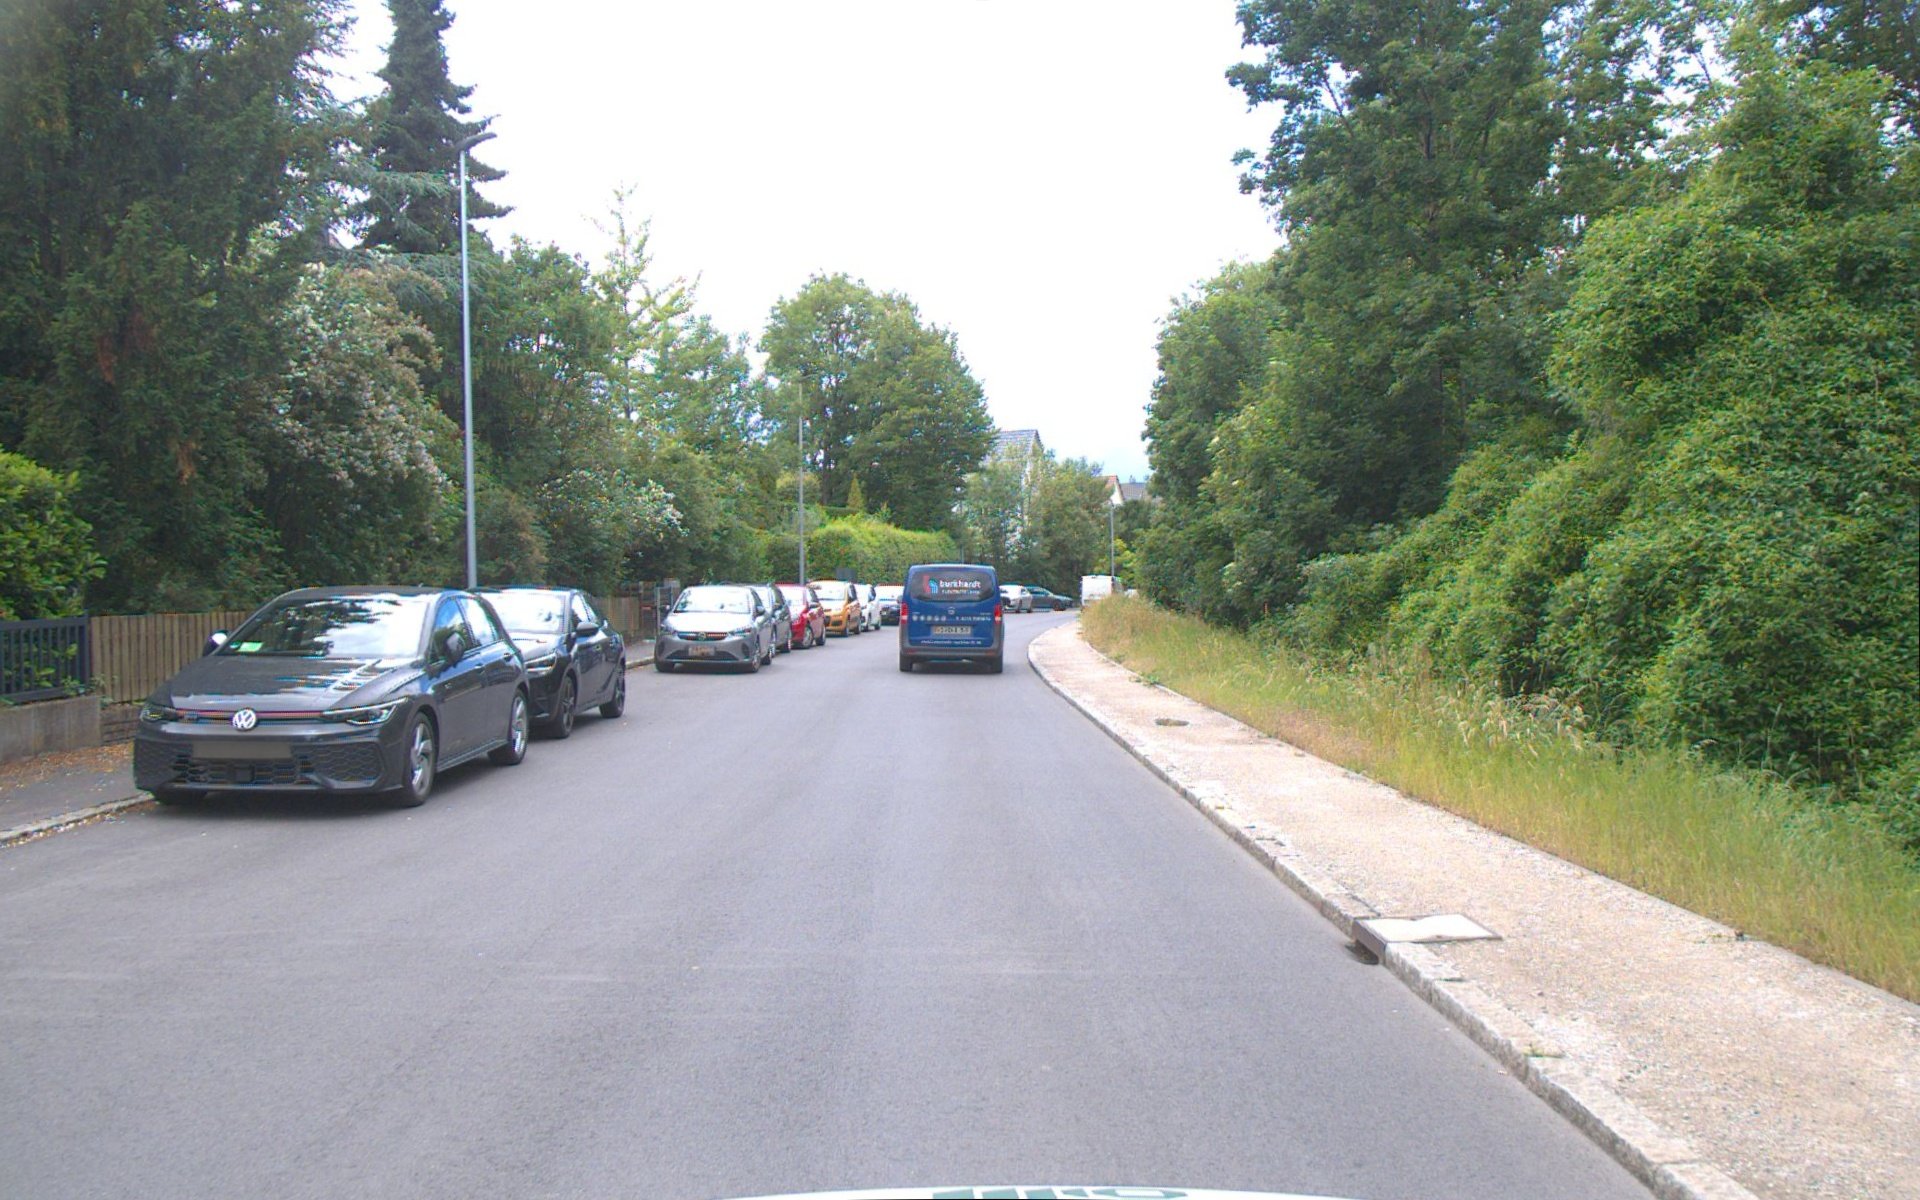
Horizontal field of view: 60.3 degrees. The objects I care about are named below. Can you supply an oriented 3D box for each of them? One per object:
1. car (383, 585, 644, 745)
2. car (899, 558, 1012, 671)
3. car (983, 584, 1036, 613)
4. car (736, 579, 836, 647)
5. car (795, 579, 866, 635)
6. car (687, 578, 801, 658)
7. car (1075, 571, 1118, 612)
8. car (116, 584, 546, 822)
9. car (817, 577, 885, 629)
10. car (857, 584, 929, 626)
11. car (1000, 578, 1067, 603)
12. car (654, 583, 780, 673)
[{"bbox_3d":[-4.493,0.583,17.251,1.672,1.441,4.131,0,1,-1],"label":"car"},{"bbox_3d":[-0.155,0.223,30.510,1.897,1.913,4.528,0,1,-2],"label":"car"},{"bbox_3d":[2.577,-0.087,84.980,1.792,1.398,4.449,1,1,14],"label":"car"},{"bbox_3d":[-4.127,0.274,39.818,1.671,1.541,4.366,0,1,4],"label":"car"},{"bbox_3d":[-3.639,0.170,47.131,1.511,1.541,3.646,0,1,4],"label":"car"},{"bbox_3d":[-4.459,0.324,34.722,1.671,1.541,4.497,0,1,2],"label":"car"},{"bbox_3d":[7.164,-0.454,87.167,2.159,2.100,6.138,0,0,4],"label":"car"},{"bbox_3d":[-4.377,0.612,12.227,1.672,1.441,4.148,0,1,-1],"label":"car"},{"bbox_3d":[-3.379,0.066,51.926,1.554,1.541,3.593,0,1,5],"label":"car"},{"bbox_3d":[-2.330,0.147,58.572,1.681,1.409,4.667,0,1,8],"label":"car"},{"bbox_3d":[4.554,-0.614,102.416,4.079,1.472,1.741,1,0,3],"label":"car"},{"bbox_3d":[-4.186,0.437,29.015,1.672,1.434,4.160,0,1,-1],"label":"car"}]
